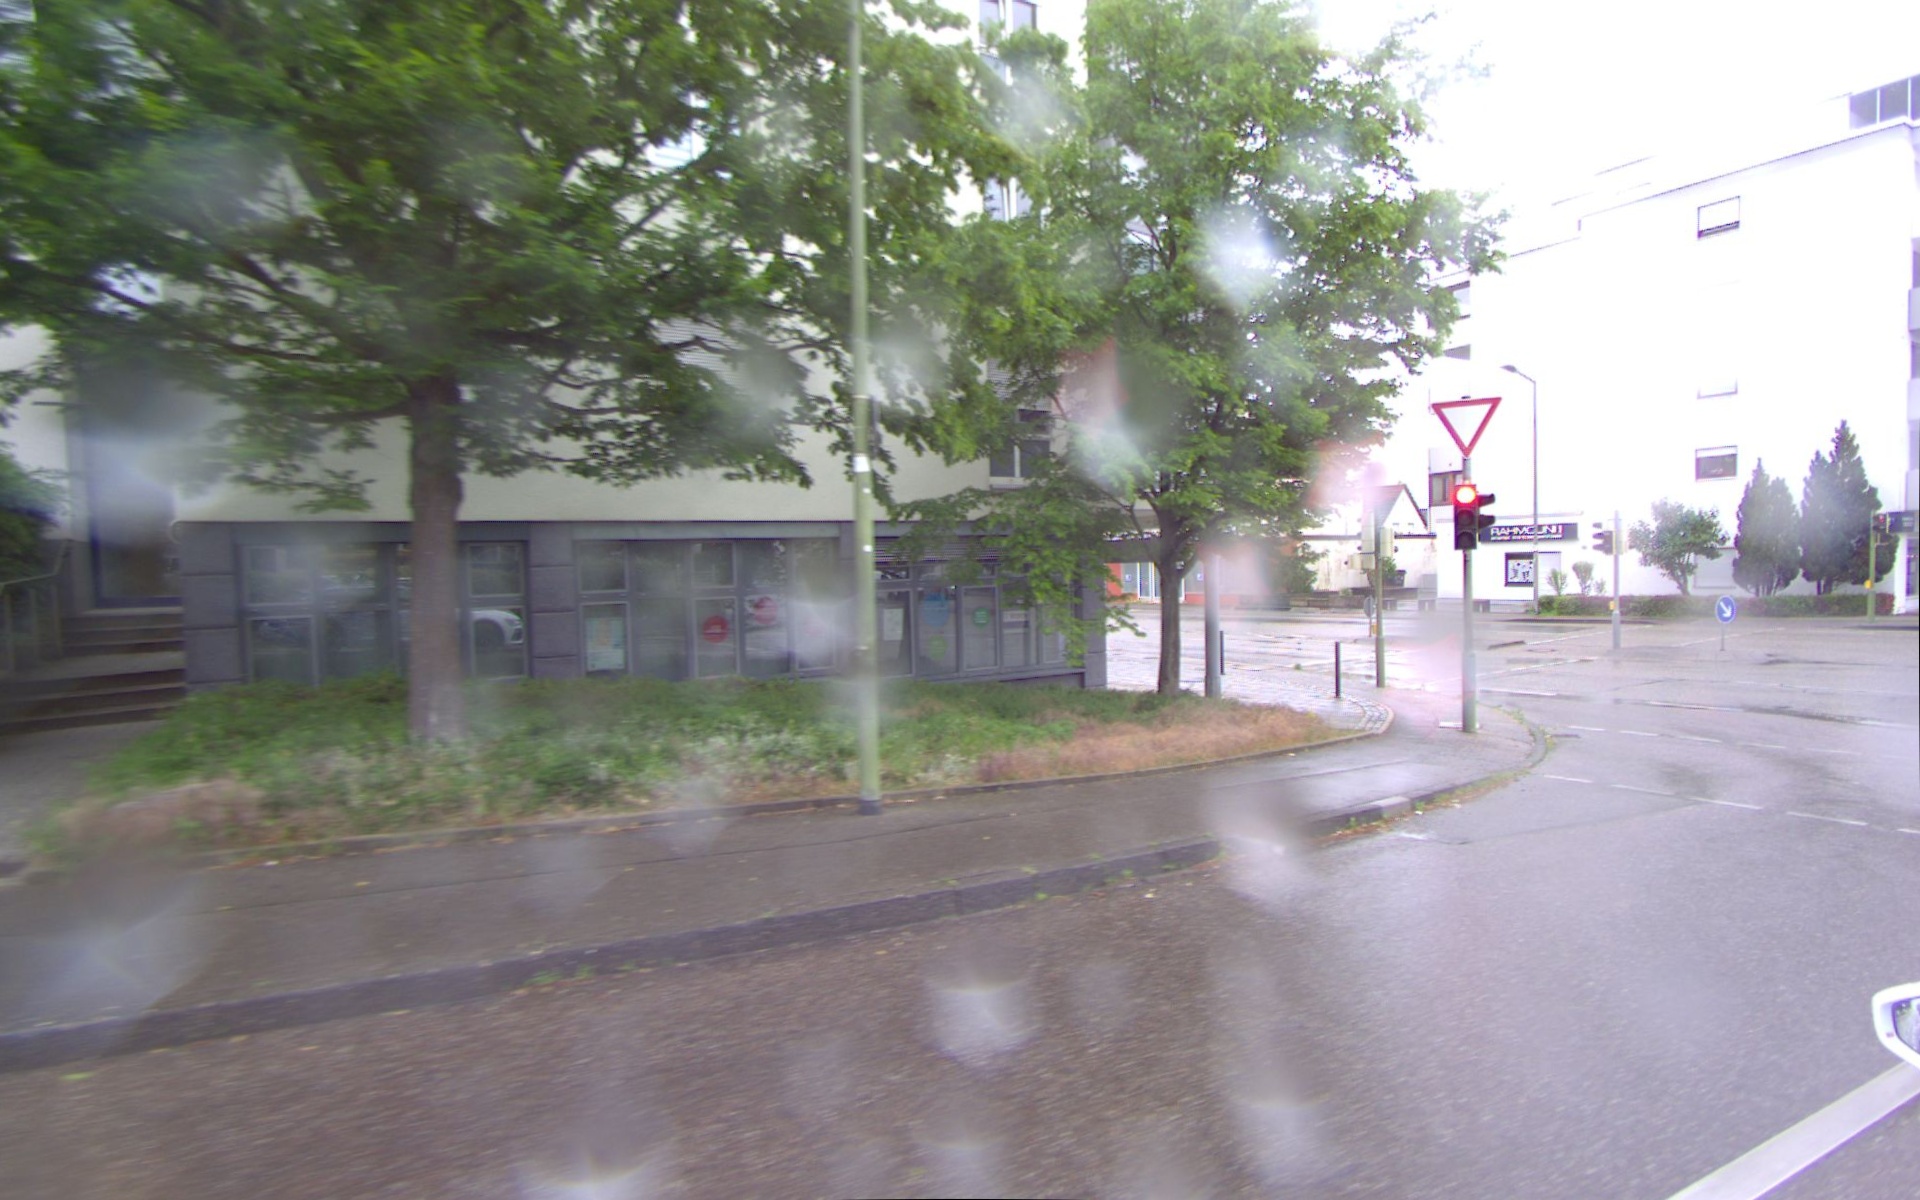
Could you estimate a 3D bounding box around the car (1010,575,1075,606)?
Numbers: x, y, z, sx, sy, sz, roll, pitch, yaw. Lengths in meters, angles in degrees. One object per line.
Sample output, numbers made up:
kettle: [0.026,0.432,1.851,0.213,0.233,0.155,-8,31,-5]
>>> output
car: [4.822,-0.583,59.156,1.976,1.718,3.968,-1,2,-29]
